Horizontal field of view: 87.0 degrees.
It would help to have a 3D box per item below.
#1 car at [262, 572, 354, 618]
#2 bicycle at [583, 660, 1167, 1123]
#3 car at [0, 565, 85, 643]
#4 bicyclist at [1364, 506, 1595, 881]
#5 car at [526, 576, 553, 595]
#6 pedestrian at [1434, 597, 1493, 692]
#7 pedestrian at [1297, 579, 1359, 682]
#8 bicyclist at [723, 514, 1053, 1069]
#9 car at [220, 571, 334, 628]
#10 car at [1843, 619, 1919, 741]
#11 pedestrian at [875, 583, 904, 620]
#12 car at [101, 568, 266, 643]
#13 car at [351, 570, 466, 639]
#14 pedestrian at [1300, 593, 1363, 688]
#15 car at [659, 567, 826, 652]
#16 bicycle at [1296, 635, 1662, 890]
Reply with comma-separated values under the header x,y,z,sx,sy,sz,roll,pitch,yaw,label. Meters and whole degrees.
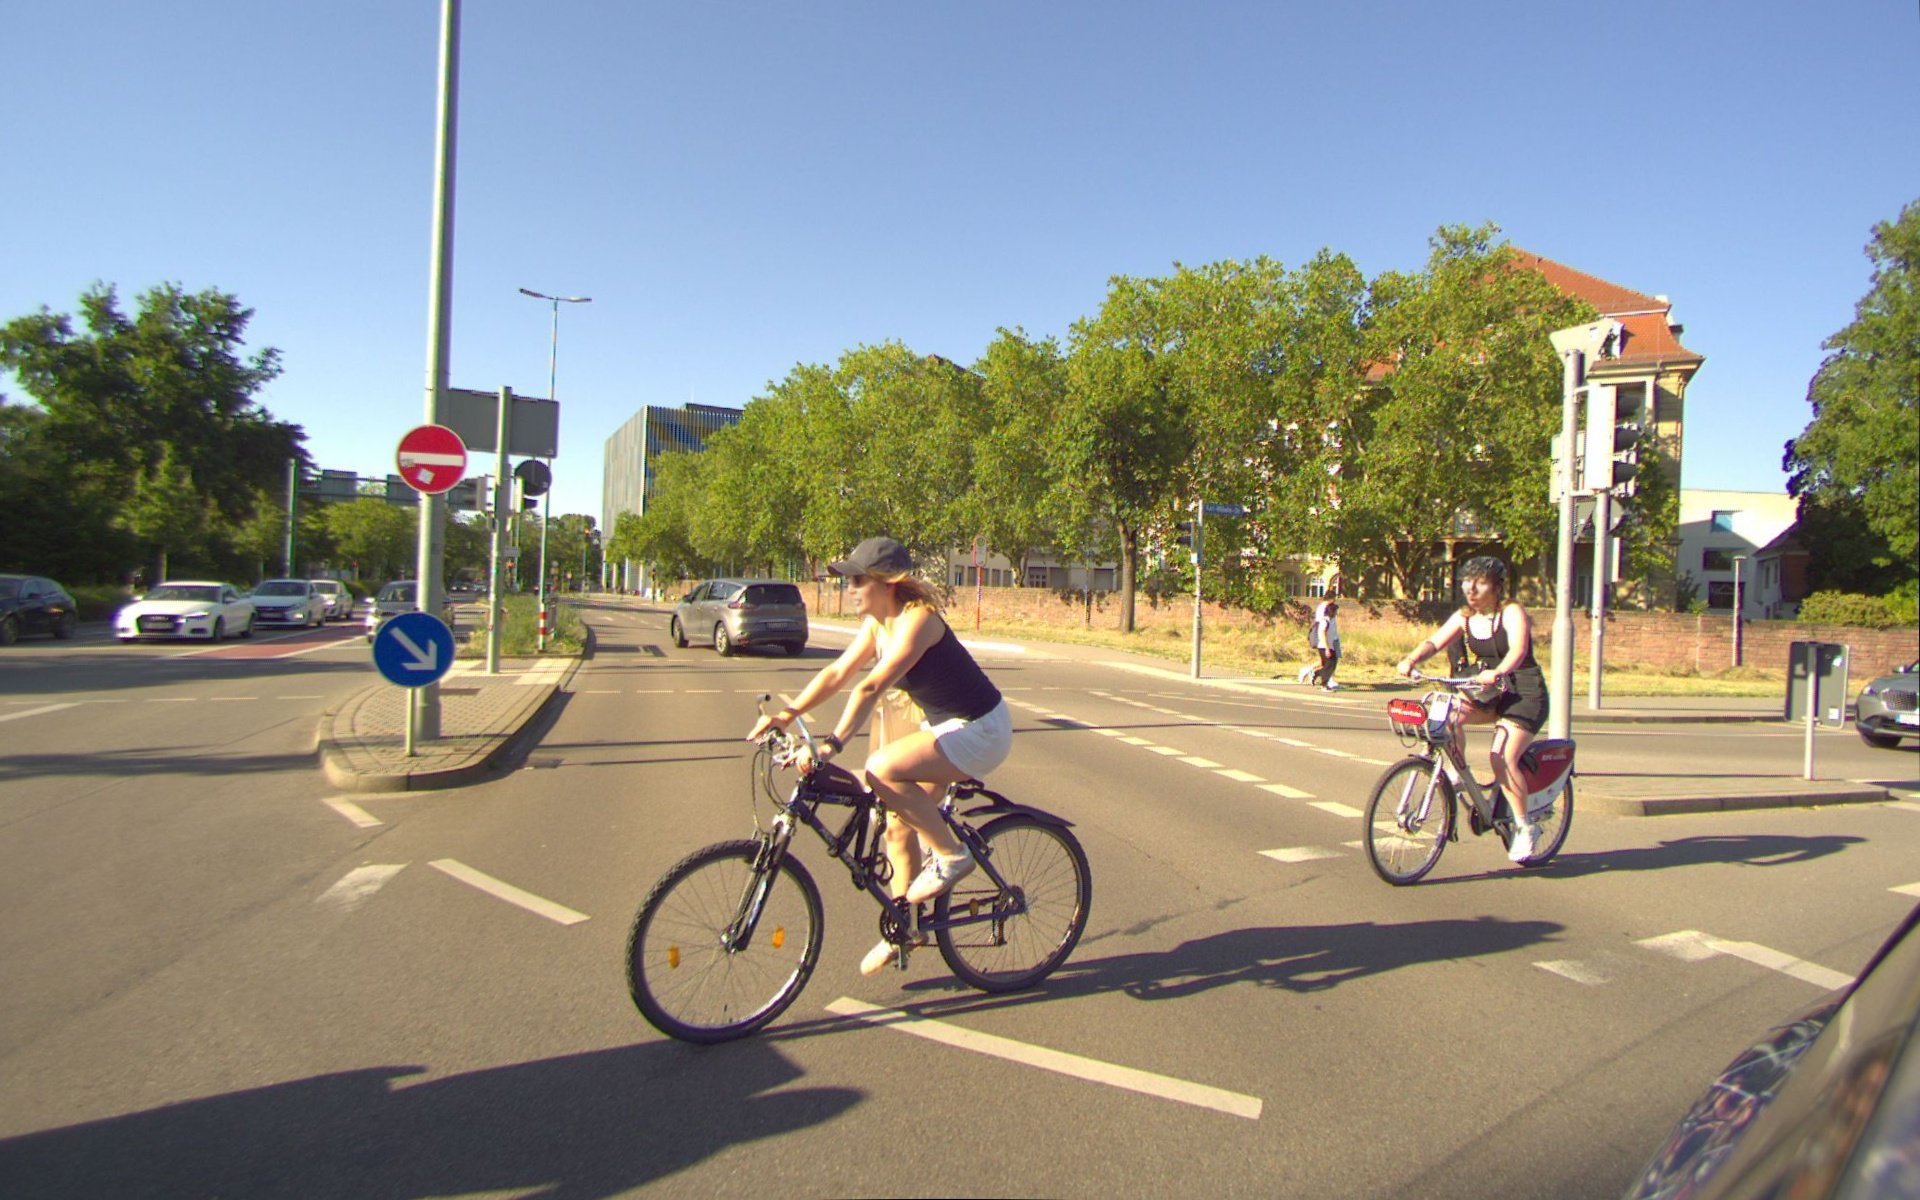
x,y,z,sx,sy,sz,roll,pitch,yaw,label
-23.561,-0.211,36.726,1.885,1.538,4.027,2,1,-20,car
-0.219,0.793,3.414,1.832,1.136,0.719,2,-2,-34,bicycle
-20.699,0.028,21.538,1.765,1.538,4.009,2,1,-20,car
2.762,0.455,5.406,0.832,1.810,0.718,2,0,-28,bicyclist
-37.069,-1.282,89.181,1.958,1.616,4.008,2,1,-25,car
9.522,0.821,19.168,0.783,1.672,0.709,4,3,19,pedestrian
7.259,0.576,19.974,0.868,1.917,0.703,5,4,37,pedestrian
-0.248,0.554,3.412,0.833,1.569,0.717,2,-2,-34,bicyclist
-20.531,-0.053,30.602,1.885,1.538,4.027,2,1,-20,car
15.297,1.202,14.636,4.271,1.640,2.161,2,0,-24,car
-3.081,0.074,44.028,0.953,1.556,0.924,2,0,-22,pedestrian
-18.046,0.078,23.775,1.765,1.538,4.441,2,1,-20,car
-13.655,0.070,25.286,1.885,1.538,4.027,2,1,-20,car
7.062,0.748,19.237,0.868,1.694,0.703,5,4,37,pedestrian
-5.009,0.160,22.796,1.962,1.705,4.629,2,0,-36,car
2.823,0.780,5.441,2.024,1.135,0.720,2,0,-29,bicycle
